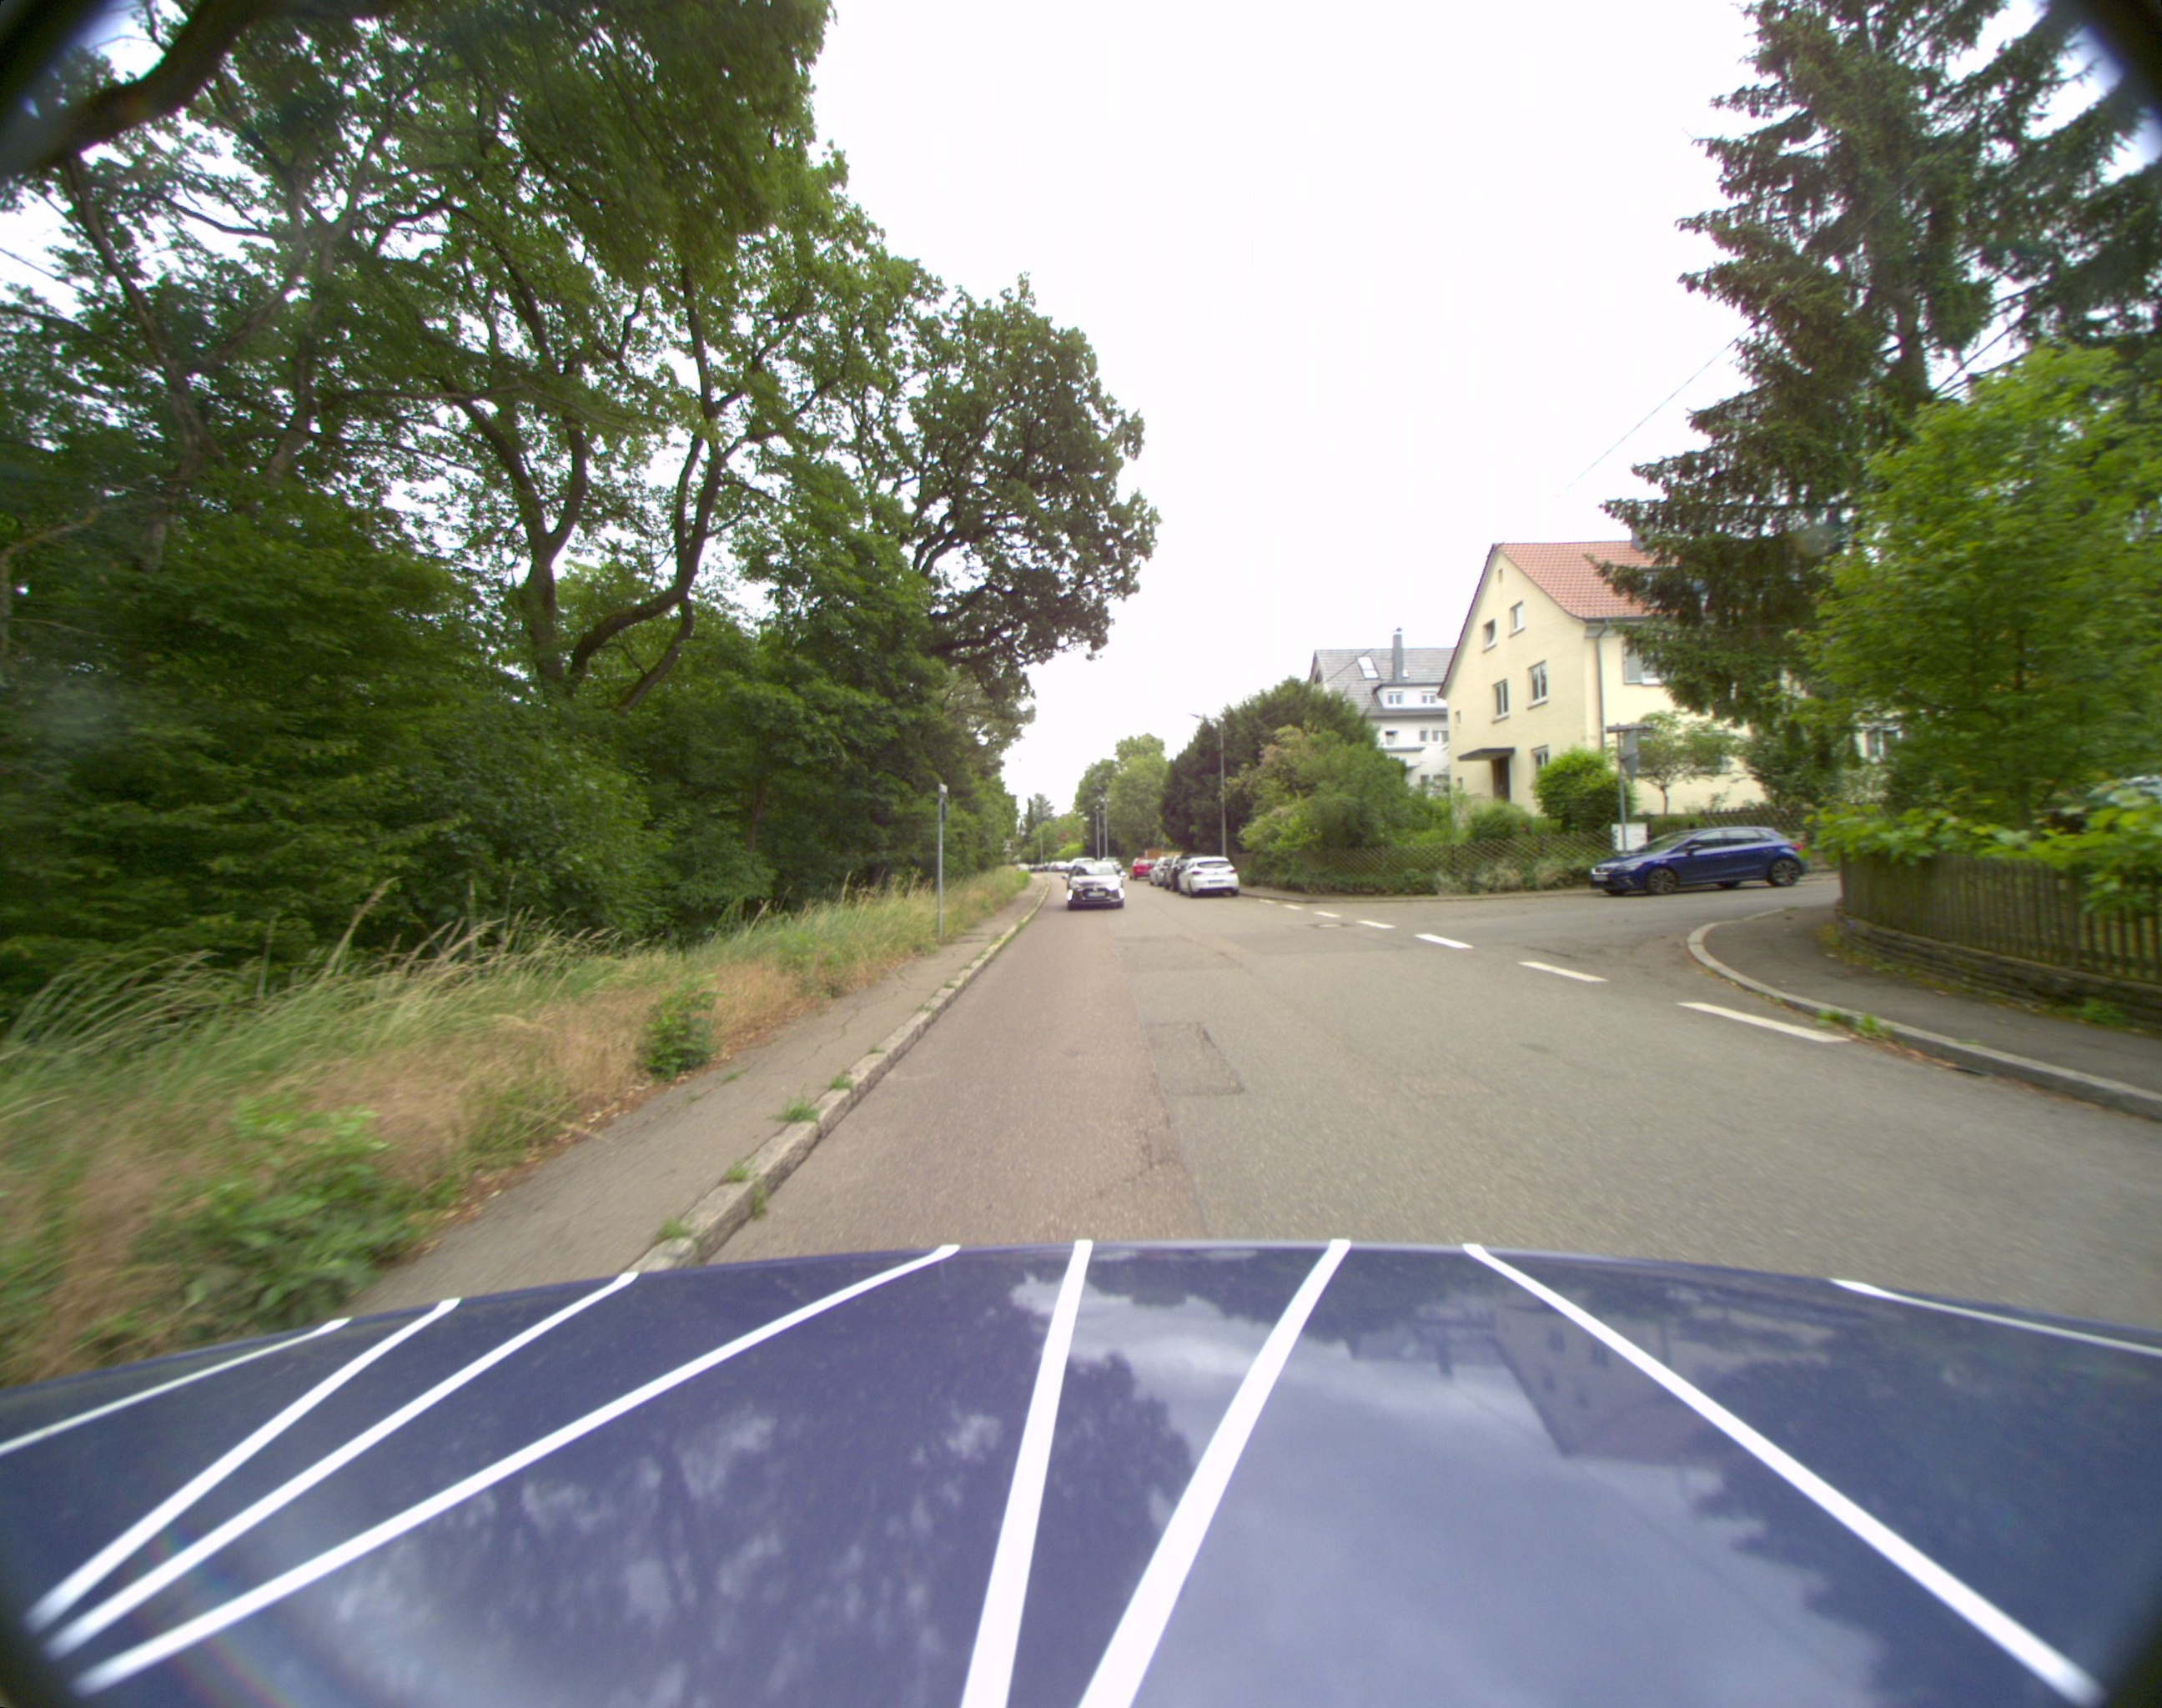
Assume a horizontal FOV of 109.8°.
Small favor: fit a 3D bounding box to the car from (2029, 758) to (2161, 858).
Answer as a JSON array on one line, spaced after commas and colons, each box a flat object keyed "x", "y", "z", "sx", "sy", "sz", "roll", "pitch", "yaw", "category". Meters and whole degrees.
[{"x": 25.319, "y": -1.137, "z": 17.231, "sx": 4.930, "sy": 1.985, "sz": 1.931, "roll": -4, "pitch": -4, "yaw": 0, "category": "car"}]

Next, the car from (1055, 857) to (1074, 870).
[{"x": -2.366, "y": 1.342, "z": 106.766, "sx": 2.000, "sy": 1.678, "sz": 4.706, "roll": -2, "pitch": 0, "yaw": -10, "category": "car"}]

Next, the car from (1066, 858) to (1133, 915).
[{"x": 0.485, "y": 0.906, "z": 22.931, "sx": 1.788, "sy": 1.491, "sz": 4.014, "roll": -3, "pitch": 0, "yaw": -1, "category": "car"}]

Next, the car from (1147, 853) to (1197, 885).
[{"x": 4.528, "y": 0.733, "z": 38.364, "sx": 1.788, "sy": 1.431, "sz": 4.323, "roll": -2, "pitch": 0, "yaw": -2, "category": "car"}]

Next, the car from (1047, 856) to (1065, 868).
[{"x": -3.824, "y": 1.182, "z": 114.991, "sx": 2.000, "sy": 1.678, "sz": 4.706, "roll": -2, "pitch": 0, "yaw": -10, "category": "car"}]

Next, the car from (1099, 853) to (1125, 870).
[{"x": 2.728, "y": 0.685, "z": 68.068, "sx": 1.765, "sy": 1.441, "sz": 4.041, "roll": -2, "pitch": 0, "yaw": -6, "category": "car"}]

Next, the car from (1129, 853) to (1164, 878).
[{"x": 4.164, "y": 0.723, "z": 48.703, "sx": 1.741, "sy": 1.431, "sz": 3.787, "roll": -2, "pitch": 0, "yaw": -2, "category": "car"}]

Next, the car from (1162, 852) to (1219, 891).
[{"x": 4.615, "y": 0.701, "z": 32.619, "sx": 1.788, "sy": 1.491, "sz": 4.014, "roll": -2, "pitch": 0, "yaw": -1, "category": "car"}]

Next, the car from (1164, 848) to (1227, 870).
[{"x": 8.931, "y": 0.403, "z": 59.577, "sx": 4.617, "sy": 1.378, "sz": 1.890, "roll": -4, "pitch": -1, "yaw": -1, "category": "car"}]

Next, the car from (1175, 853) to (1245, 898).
[{"x": 4.674, "y": 0.748, "z": 28.041, "sx": 1.788, "sy": 1.491, "sz": 4.014, "roll": -2, "pitch": 0, "yaw": -1, "category": "car"}]

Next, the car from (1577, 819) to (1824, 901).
[{"x": 13.895, "y": 0.135, "z": 17.240, "sx": 3.996, "sy": 1.474, "sz": 1.722, "roll": -4, "pitch": -1, "yaw": 5, "category": "car"}]

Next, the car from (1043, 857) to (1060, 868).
[{"x": -4.750, "y": 1.300, "z": 120.499, "sx": 2.000, "sy": 1.678, "sz": 4.706, "roll": -2, "pitch": 0, "yaw": -10, "category": "car"}]

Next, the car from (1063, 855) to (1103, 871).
[{"x": 0.296, "y": 0.987, "z": 86.985, "sx": 1.994, "sy": 1.678, "sz": 4.720, "roll": -2, "pitch": 0, "yaw": 40, "category": "car"}]

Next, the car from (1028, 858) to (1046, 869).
[{"x": -7.662, "y": 1.637, "z": 131.931, "sx": 2.001, "sy": 1.678, "sz": 4.704, "roll": -2, "pitch": 0, "yaw": -17, "category": "car"}]
